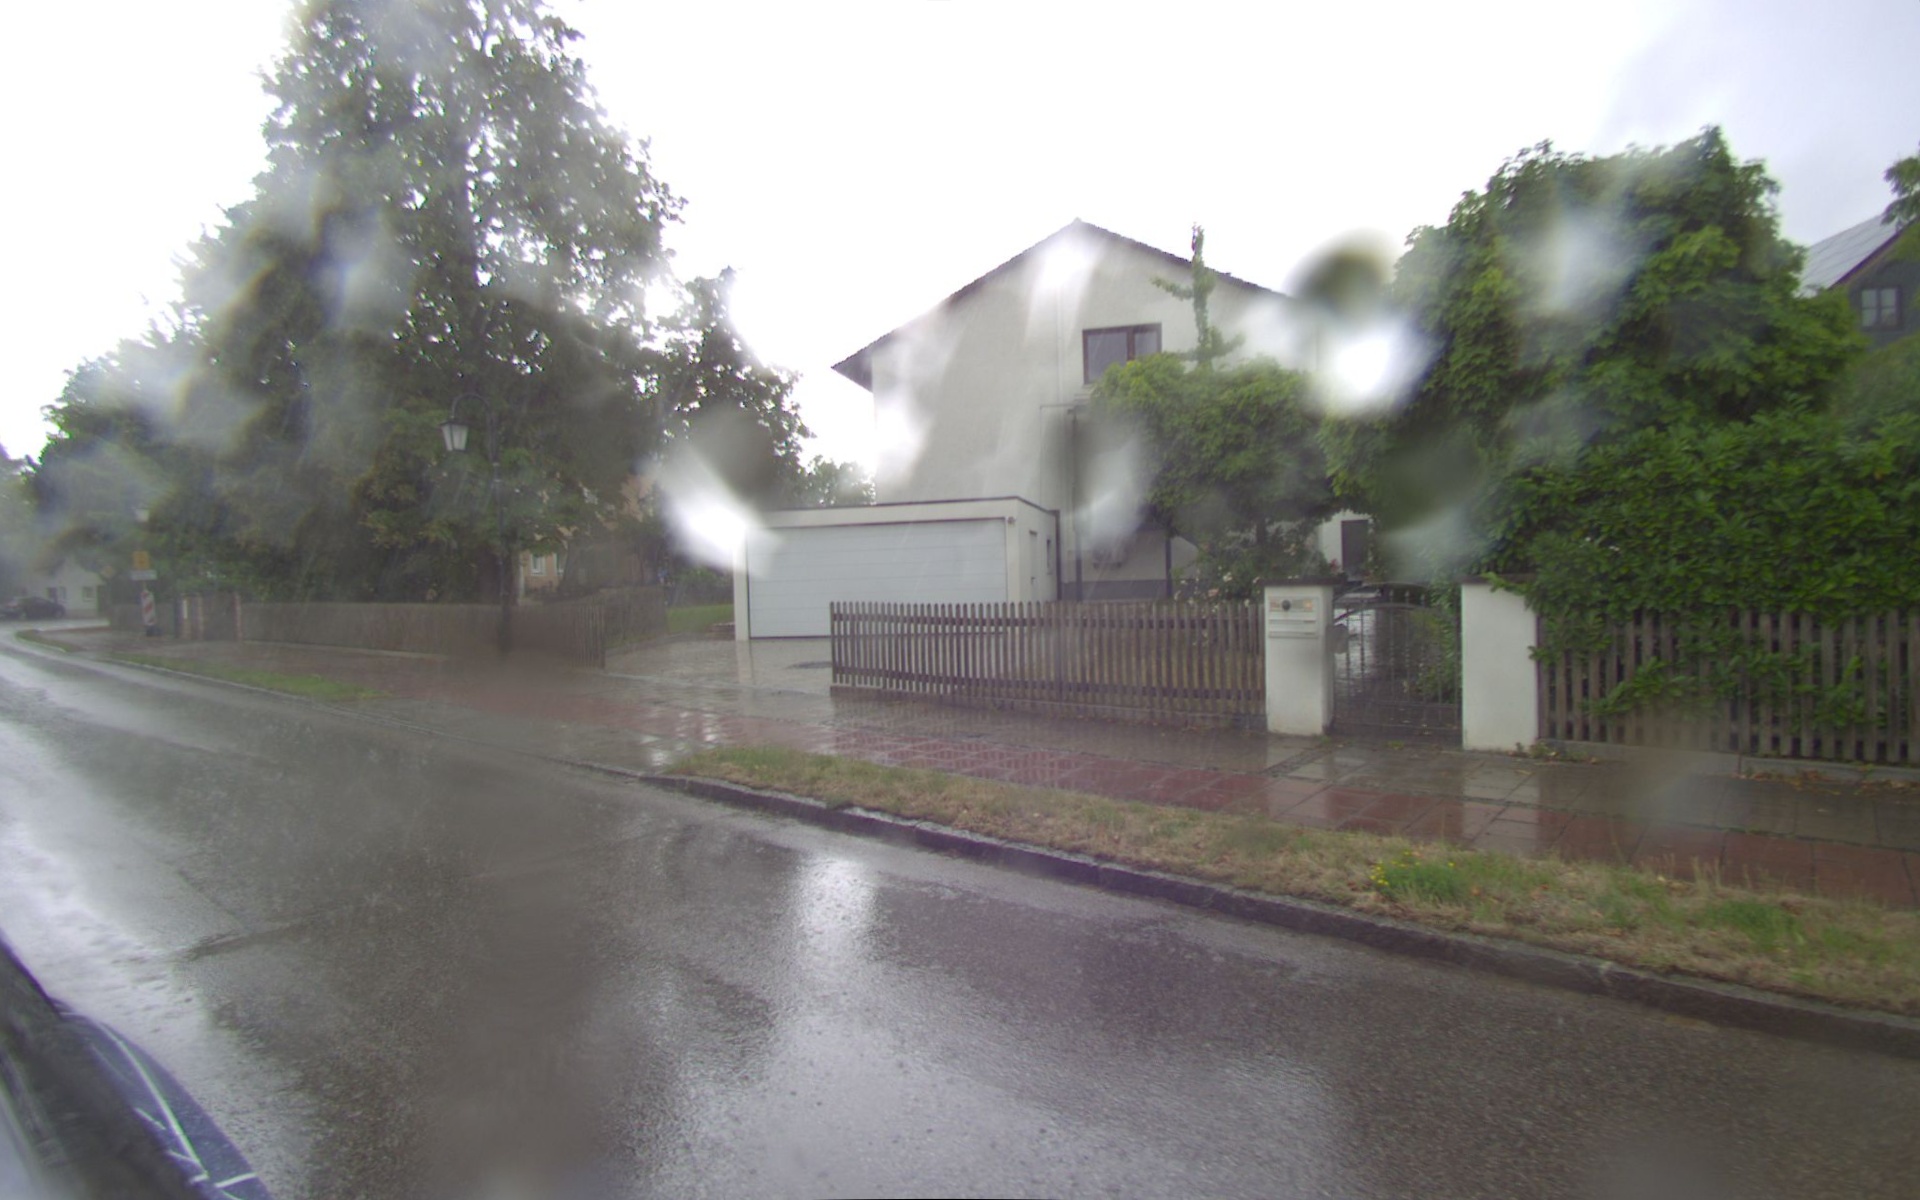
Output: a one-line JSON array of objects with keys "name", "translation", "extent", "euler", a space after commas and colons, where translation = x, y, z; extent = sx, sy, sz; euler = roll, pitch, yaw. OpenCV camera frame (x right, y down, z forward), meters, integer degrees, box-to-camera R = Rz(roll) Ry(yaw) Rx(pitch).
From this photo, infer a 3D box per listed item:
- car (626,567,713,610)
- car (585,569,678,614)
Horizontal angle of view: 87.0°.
[{"name": "car", "translation": [-14.220, -0.567, 49.665], "extent": [3.614, 1.815, 1.838], "euler": [-3, 2, 8]}, {"name": "car", "translation": [-15.205, -0.393, 46.930], "extent": [3.614, 1.815, 1.838], "euler": [-3, 2, 8]}]
